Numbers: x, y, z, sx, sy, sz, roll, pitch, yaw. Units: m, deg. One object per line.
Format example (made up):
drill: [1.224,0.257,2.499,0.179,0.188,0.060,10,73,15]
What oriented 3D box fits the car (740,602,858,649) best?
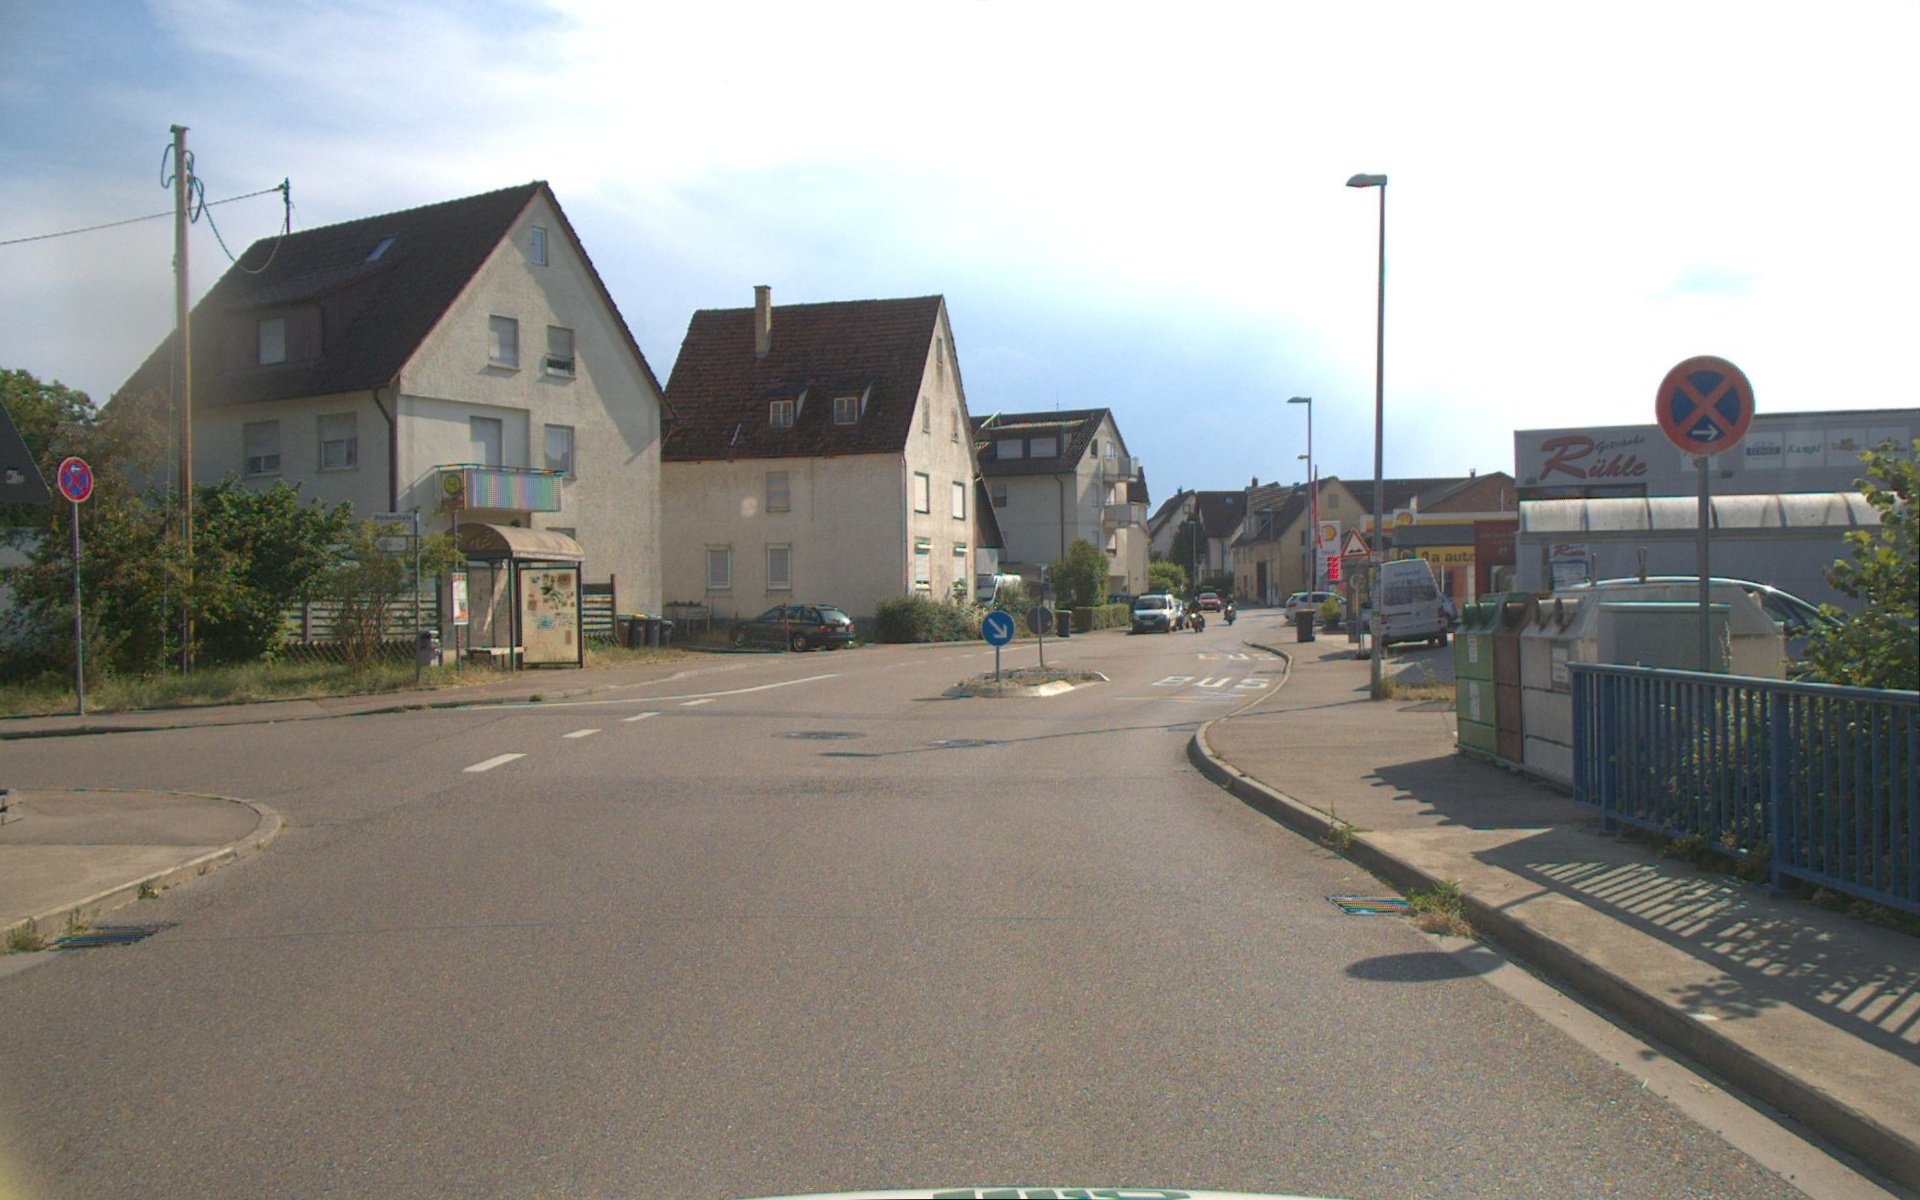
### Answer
car: [-5.336,0.811,54.506,3.928,1.458,1.644,1,1,41]

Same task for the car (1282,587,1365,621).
car: [17.953,0.199,81.689,3.902,1.636,2.002,0,0,13]

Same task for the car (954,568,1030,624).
car: [1.653,-0.213,81.842,2.113,2.641,6.097,0,0,18]

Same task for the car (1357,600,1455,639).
car: [18.660,0.808,69.330,3.902,1.558,1.529,-1,0,13]

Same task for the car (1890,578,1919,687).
car: [14.561,0.376,22.164,3.365,1.441,1.499,-2,-1,18]

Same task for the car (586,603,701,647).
car: [-10.823,0.828,56.490,3.920,1.384,1.680,1,1,36]

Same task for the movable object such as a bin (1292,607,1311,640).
movable object such as a bin: [11.497,0.790,55.710,0.555,1.094,0.573,-2,0,9]

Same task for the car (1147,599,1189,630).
car: [10.506,0.697,83.413,1.637,1.477,3.837,-2,0,14]

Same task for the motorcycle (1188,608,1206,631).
motorcycle: [10.925,0.885,76.221,0.527,1.030,2.029,1,0,16]

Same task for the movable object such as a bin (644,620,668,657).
movable object such as a bin: [-8.564,1.079,46.614,0.354,1.041,0.576,-1,-2,30]

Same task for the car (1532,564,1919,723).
car: [8.465,0.496,18.318,3.855,1.631,1.684,-1,-1,14]

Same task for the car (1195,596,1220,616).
car: [19.062,0.454,127.377,1.672,1.460,3.783,-2,0,6]

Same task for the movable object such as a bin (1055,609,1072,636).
movable object such as a bin: [4.266,0.933,68.359,0.598,1.120,0.576,0,-1,14]

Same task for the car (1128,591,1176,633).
car: [9.116,0.543,78.412,1.680,1.905,4.195,-2,0,14]

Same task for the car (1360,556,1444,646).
car: [12.588,0.029,47.347,1.797,2.416,5.183,-1,0,10]

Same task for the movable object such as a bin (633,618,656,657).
movable object such as a bin: [-8.790,1.041,46.040,0.354,1.059,0.557,-1,-2,30]

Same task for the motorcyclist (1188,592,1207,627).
motorcyclist: [10.947,0.428,76.203,0.720,1.553,1.017,2,-1,16]

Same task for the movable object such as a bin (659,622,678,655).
movable object such as a bin: [-8.286,1.104,47.080,0.354,0.941,0.399,-1,-2,30]

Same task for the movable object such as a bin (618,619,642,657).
movable object such as a bin: [-9.093,1.039,45.563,0.354,1.034,0.557,-1,-2,30]

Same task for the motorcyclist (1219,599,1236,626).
motorcyclist: [14.402,0.665,89.150,0.785,1.461,1.037,1,0,15]
